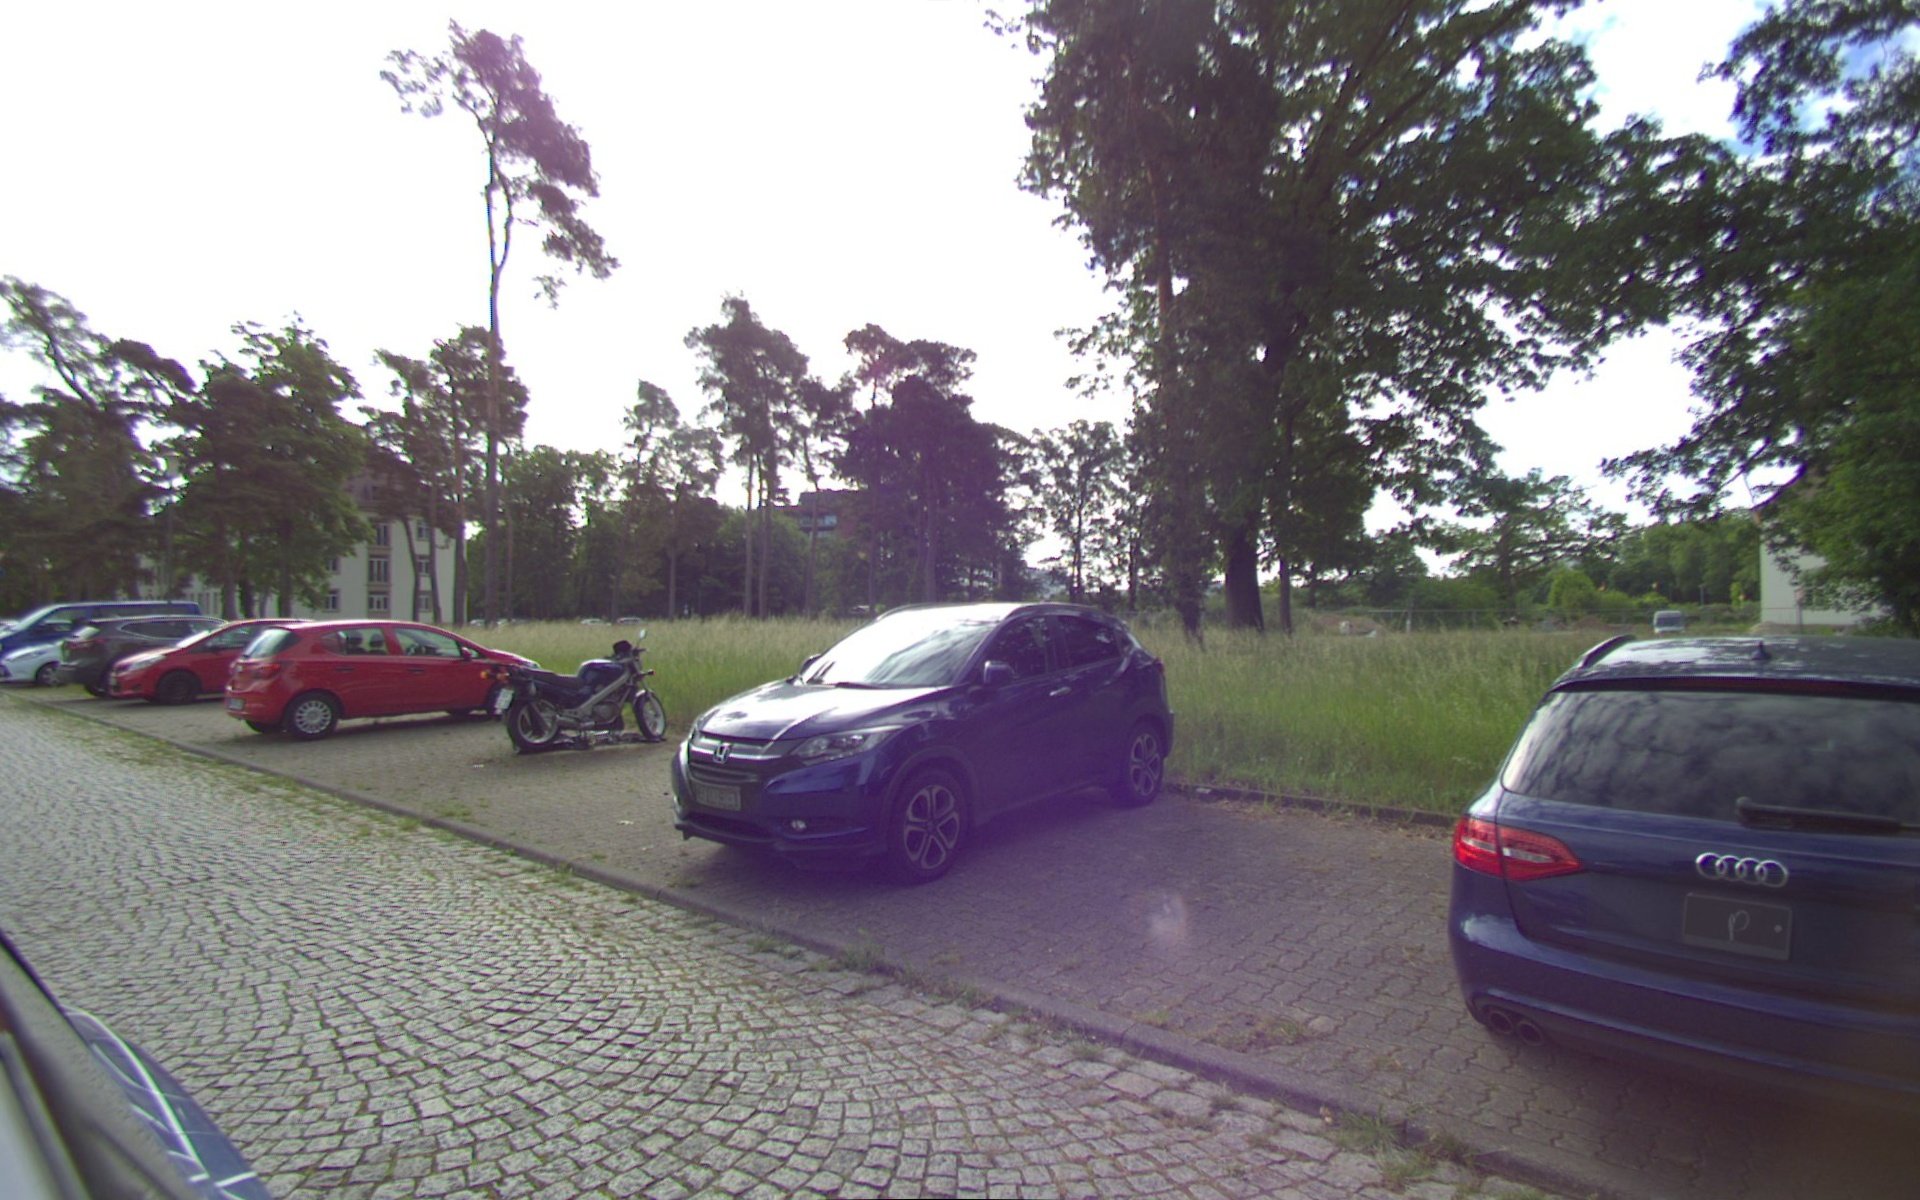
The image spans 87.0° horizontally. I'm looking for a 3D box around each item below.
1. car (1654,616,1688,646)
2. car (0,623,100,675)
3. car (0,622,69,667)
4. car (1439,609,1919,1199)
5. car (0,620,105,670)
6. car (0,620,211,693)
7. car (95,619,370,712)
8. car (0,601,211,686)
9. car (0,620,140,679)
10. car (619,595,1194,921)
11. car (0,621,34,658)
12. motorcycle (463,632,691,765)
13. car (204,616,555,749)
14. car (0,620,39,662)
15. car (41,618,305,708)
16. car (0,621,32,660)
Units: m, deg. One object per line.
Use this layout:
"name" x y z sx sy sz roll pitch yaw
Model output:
"car" 54.279 2.357 77.229 2.035 2.028 4.177 0 2 37
"car" -29.129 1.514 31.270 1.613 1.431 3.561 0 1 32
"car" -33.440 1.588 35.043 1.633 1.427 3.534 0 2 32
"car" 3.517 0.796 3.995 1.682 1.491 4.382 -2 -1 43
"car" -31.031 1.496 33.744 1.601 1.445 3.534 0 2 32
"car" -20.718 1.294 24.442 1.740 1.403 3.883 0 2 38
"car" -13.495 1.146 18.952 1.706 1.532 3.901 -2 -2 40
"car" -22.684 1.056 26.266 2.159 1.880 4.775 0 2 38
"car" -26.753 1.431 29.917 1.682 1.465 3.561 0 2 32
"car" -0.078 0.784 7.107 1.788 1.585 4.098 0 0 38
"car" -40.726 1.694 41.733 1.622 1.442 3.421 0 2 30
"motorcycle" -4.216 1.025 11.331 0.743 1.298 2.332 -1 -1 40
"car" -7.800 1.005 13.881 1.670 1.490 3.846 -1 -1 39
"car" -36.927 1.601 37.719 1.597 1.498 3.535 0 2 31
"car" -15.773 1.195 20.441 1.818 1.616 3.869 -1 -2 37
"car" -38.937 1.670 39.655 1.624 1.469 3.529 0 2 37
